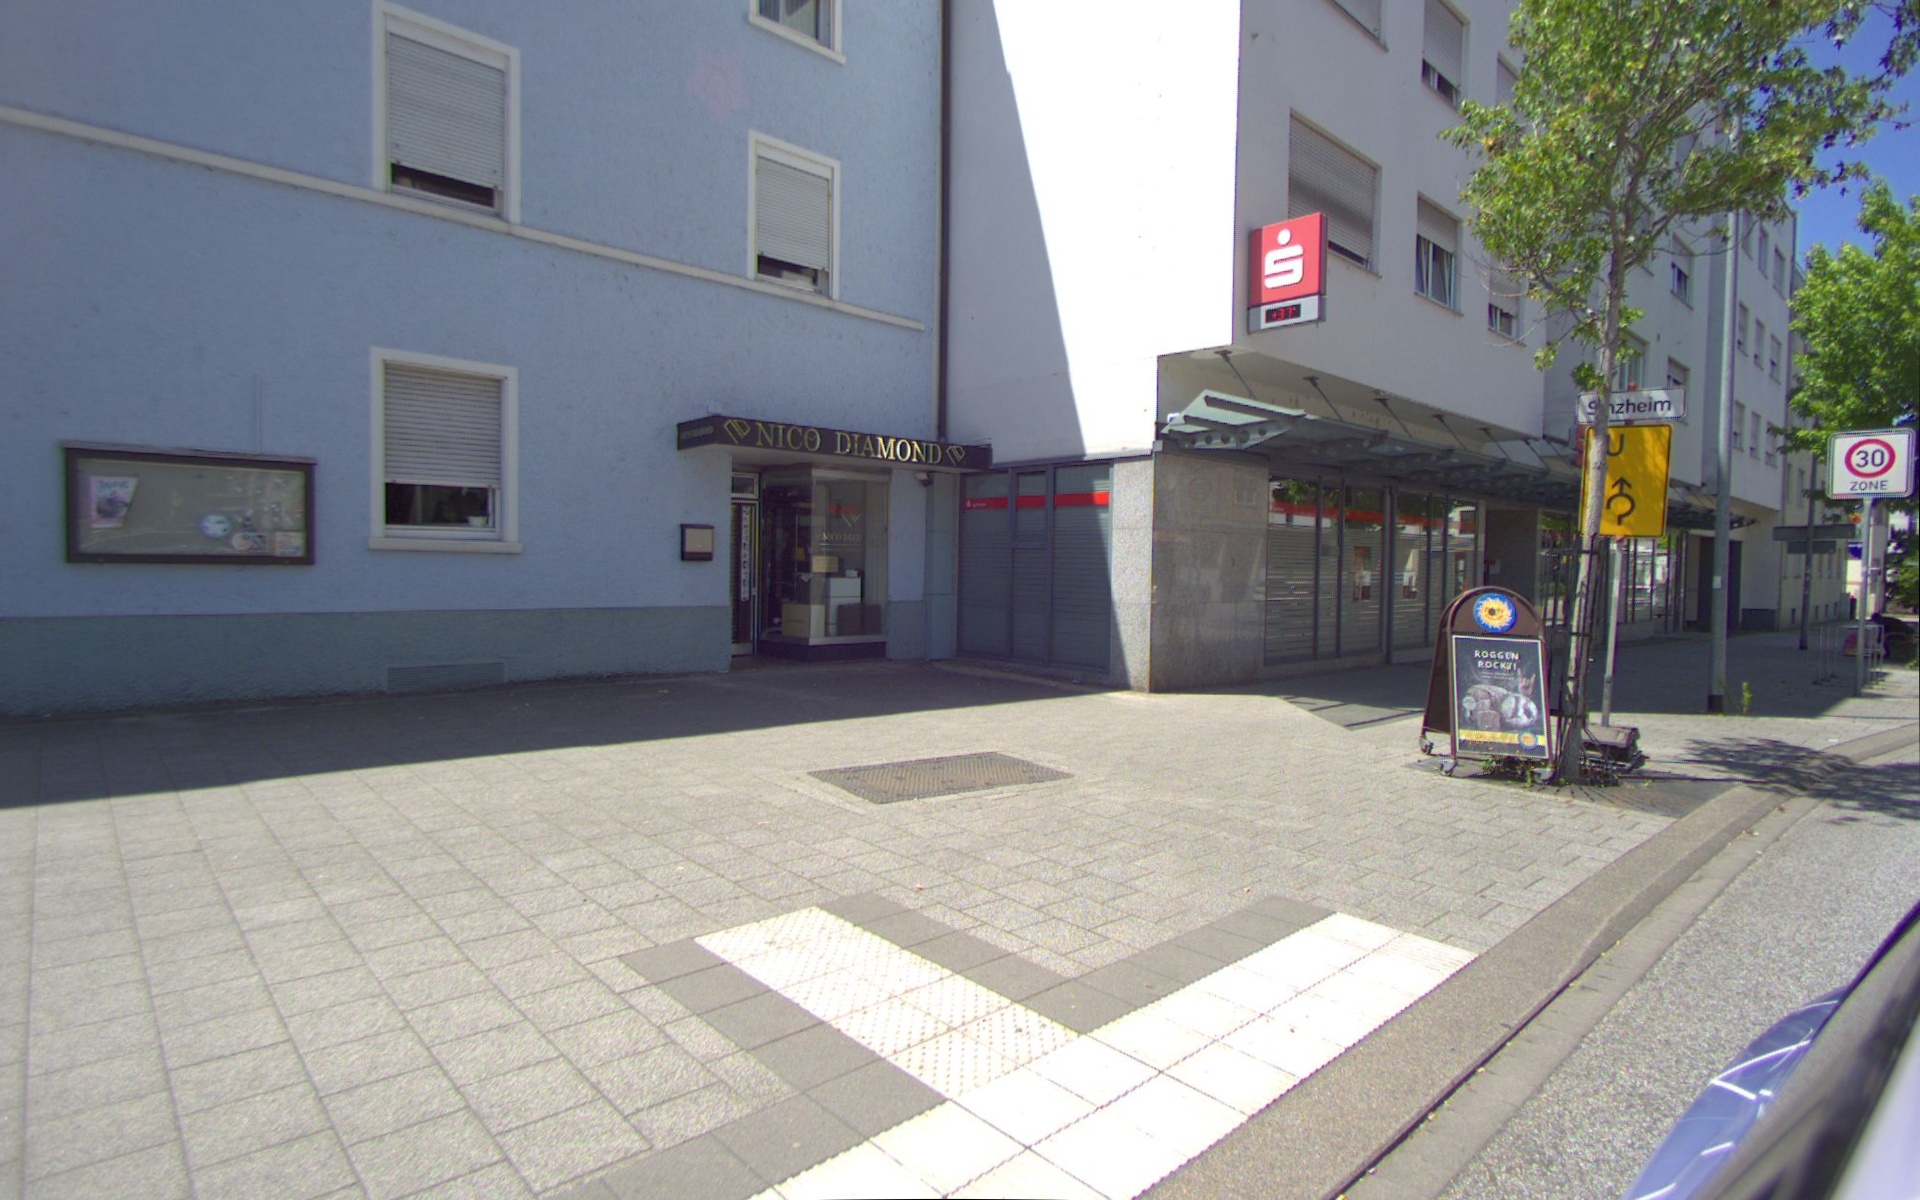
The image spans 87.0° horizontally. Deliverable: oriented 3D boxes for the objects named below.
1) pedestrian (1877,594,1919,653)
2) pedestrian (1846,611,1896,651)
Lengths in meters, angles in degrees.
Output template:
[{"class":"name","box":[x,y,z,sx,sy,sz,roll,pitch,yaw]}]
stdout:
[{"class":"pedestrian","box":[20.896,0.504,22.354,0.527,1.255,0.764,0,2,-28]},{"class":"pedestrian","box":[20.926,0.704,23.263,0.527,0.862,0.681,0,3,-28]}]
